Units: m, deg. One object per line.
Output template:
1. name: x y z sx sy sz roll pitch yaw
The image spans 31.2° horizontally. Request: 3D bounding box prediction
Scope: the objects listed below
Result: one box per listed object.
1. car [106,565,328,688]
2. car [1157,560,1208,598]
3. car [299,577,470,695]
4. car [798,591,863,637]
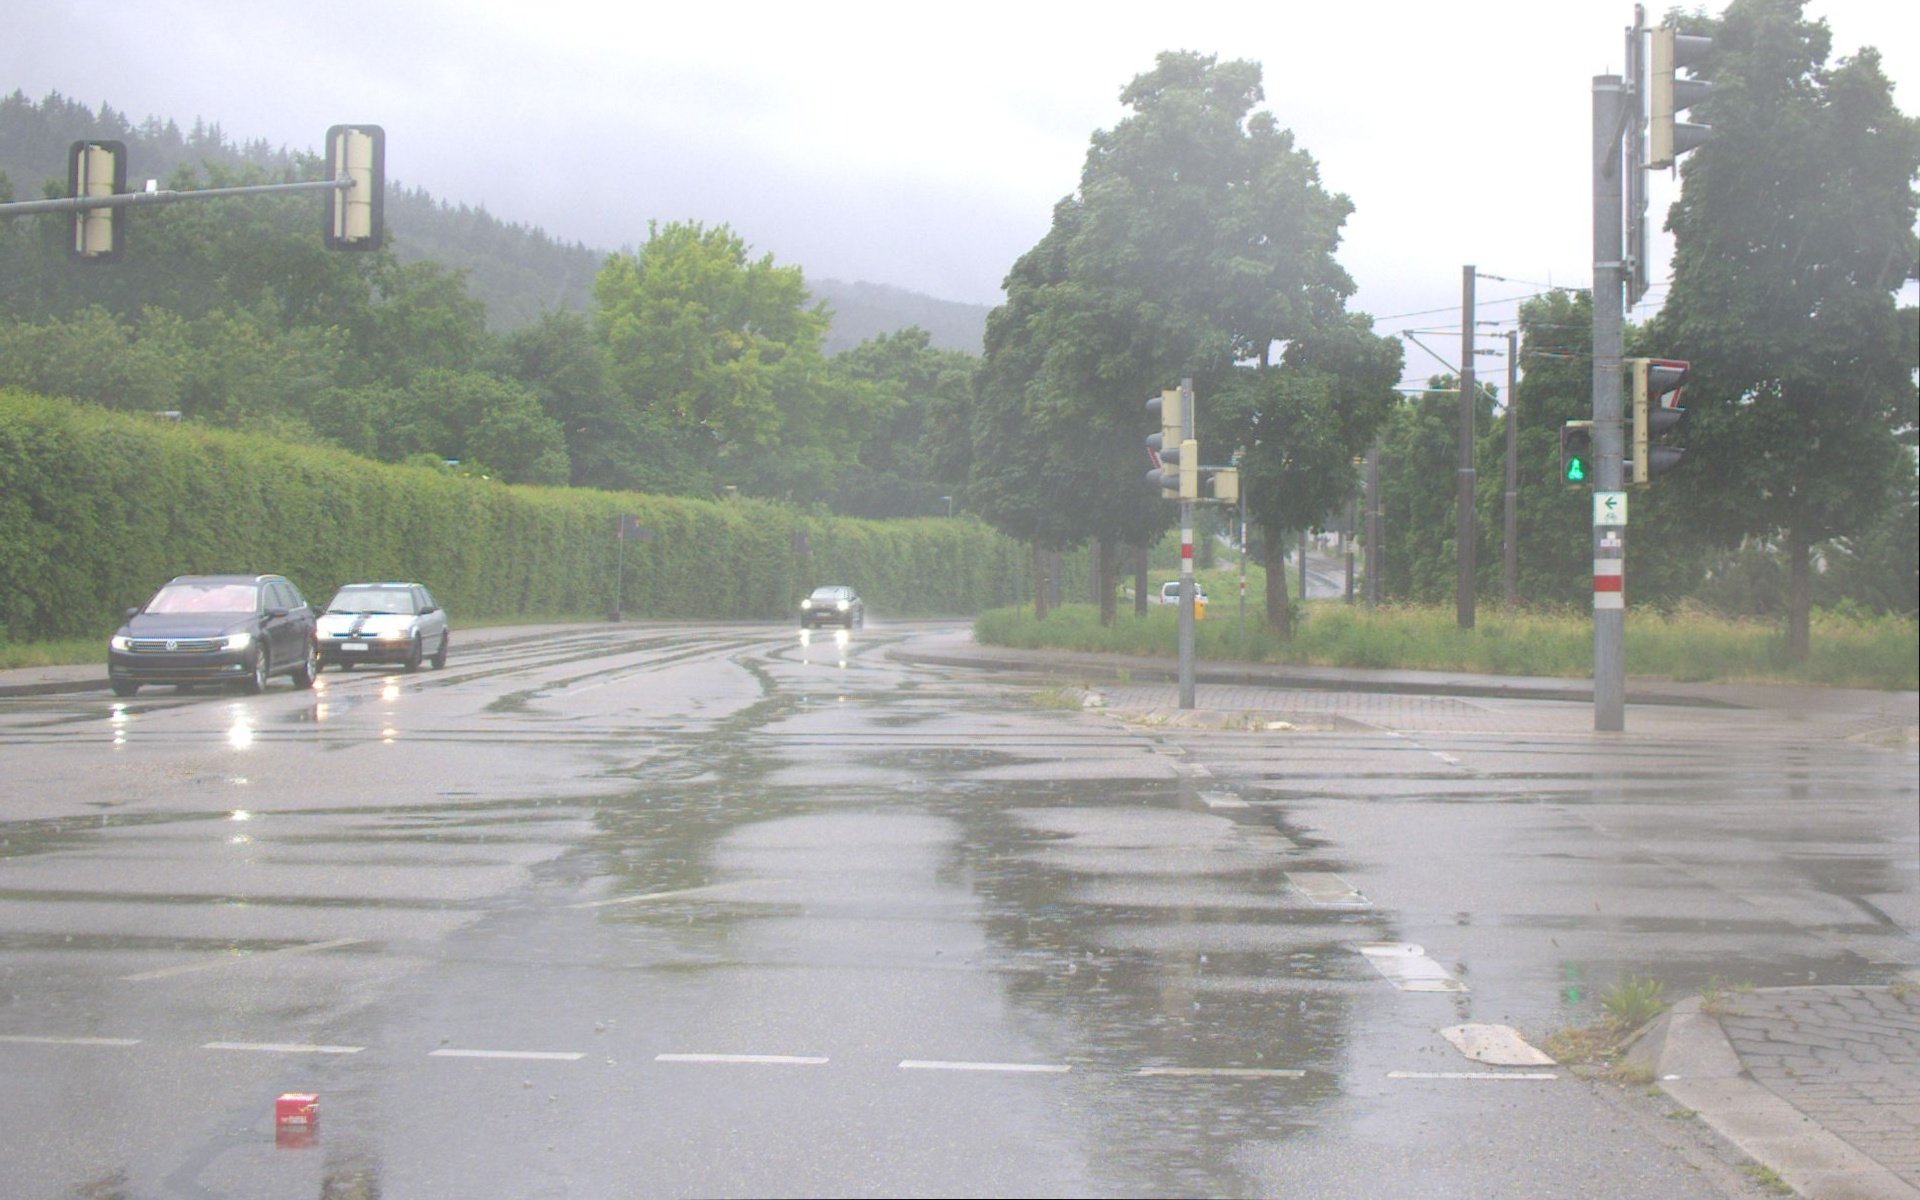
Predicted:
1. car: -9.311 0.289 43.403 1.708 1.461 4.453 0 1 2
2. car: 11.410 -1.072 176.018 1.954 1.897 4.118 0 1 13
3. car: -8.953 0.527 53.796 2.036 1.702 4.066 1 1 -1
4. car: -4.654 0.493 123.785 1.785 1.499 4.060 2 1 5
